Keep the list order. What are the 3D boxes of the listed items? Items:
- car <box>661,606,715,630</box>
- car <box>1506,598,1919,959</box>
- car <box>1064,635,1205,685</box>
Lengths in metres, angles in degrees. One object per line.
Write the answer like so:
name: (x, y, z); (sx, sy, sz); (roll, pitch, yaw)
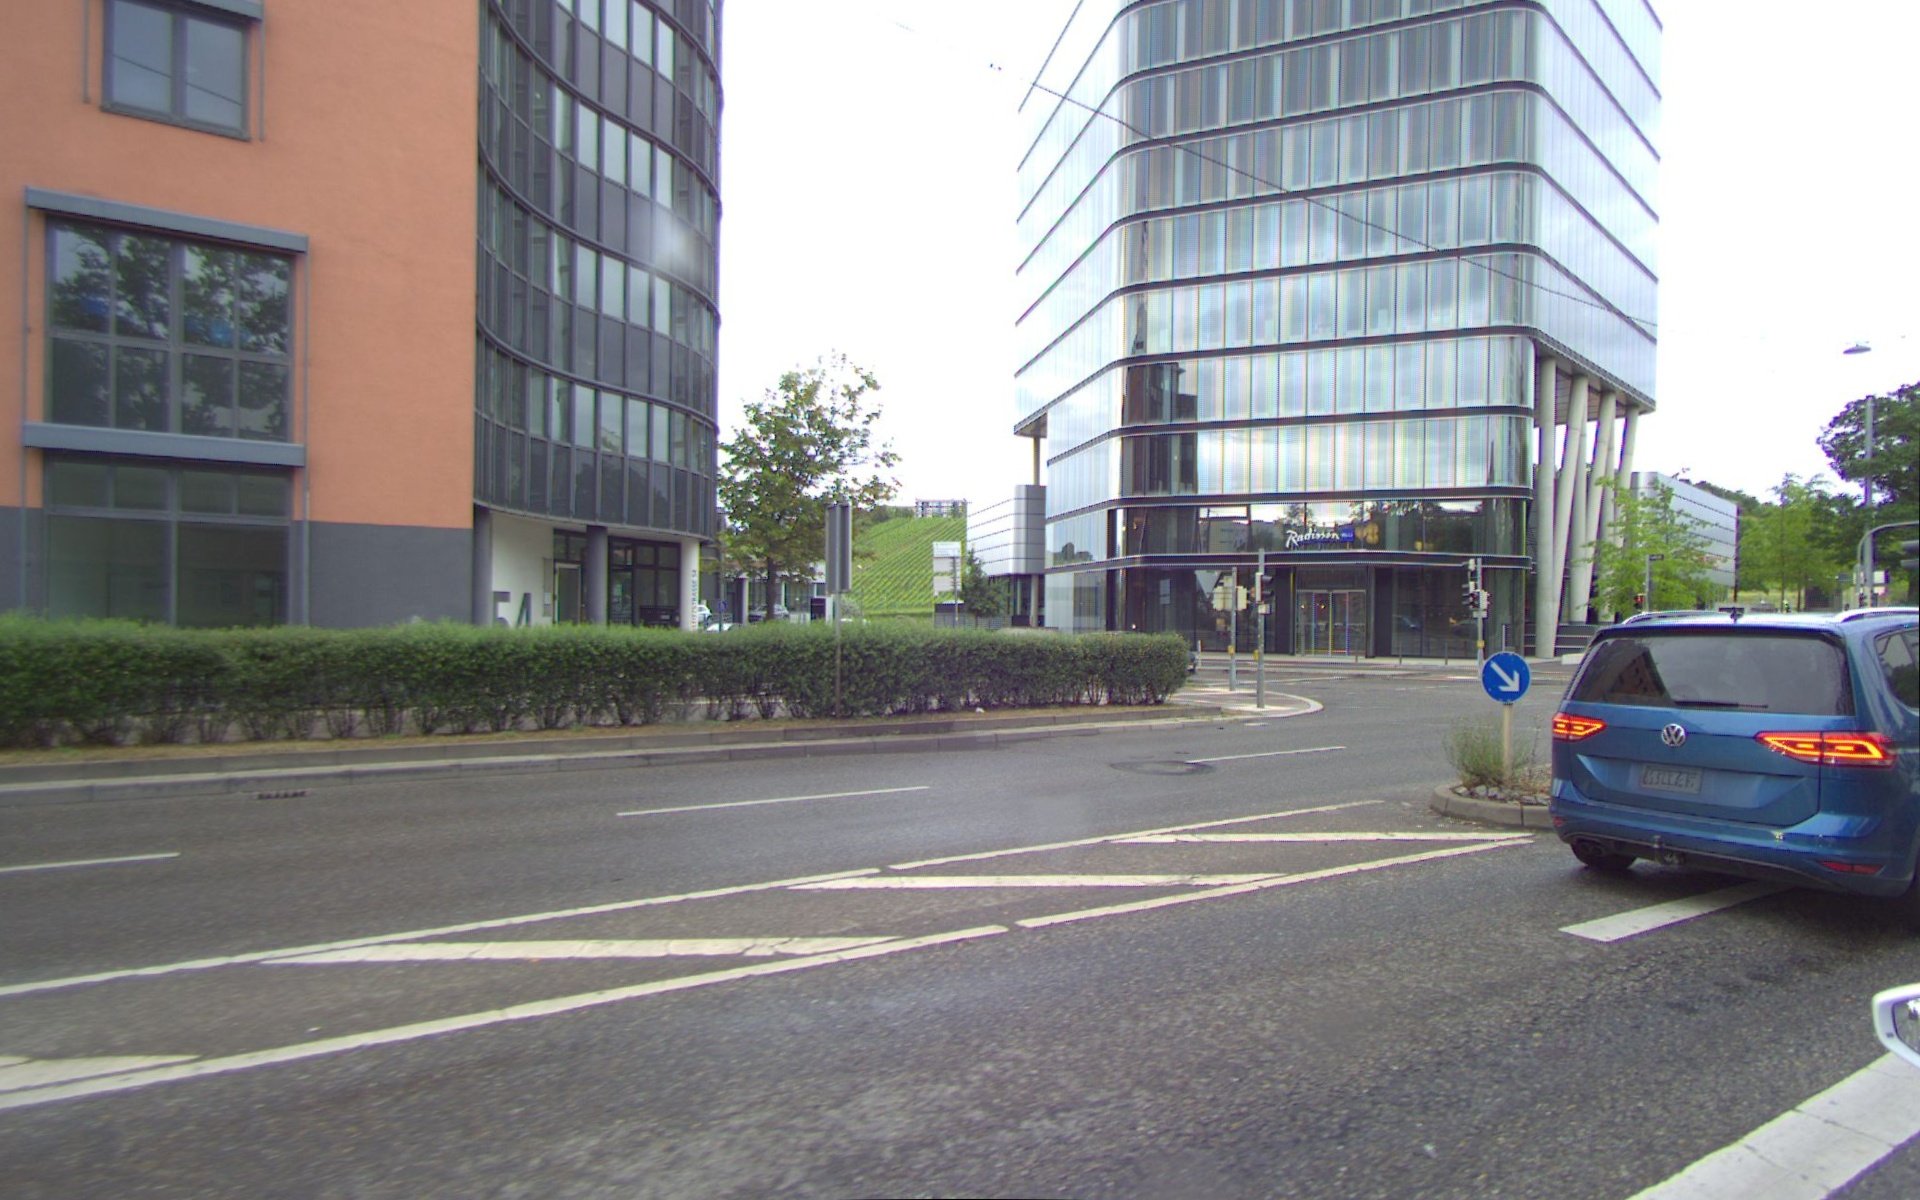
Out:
car: (-19.415, 1.316, 71.865); (1.782, 1.672, 3.814); (0, -2, 23)
car: (5.521, 0.860, 6.310); (4.146, 1.617, 1.765); (1, -2, -29)
car: (5.761, 1.942, 33.445); (4.307, 1.530, 1.848); (-1, -2, 40)
